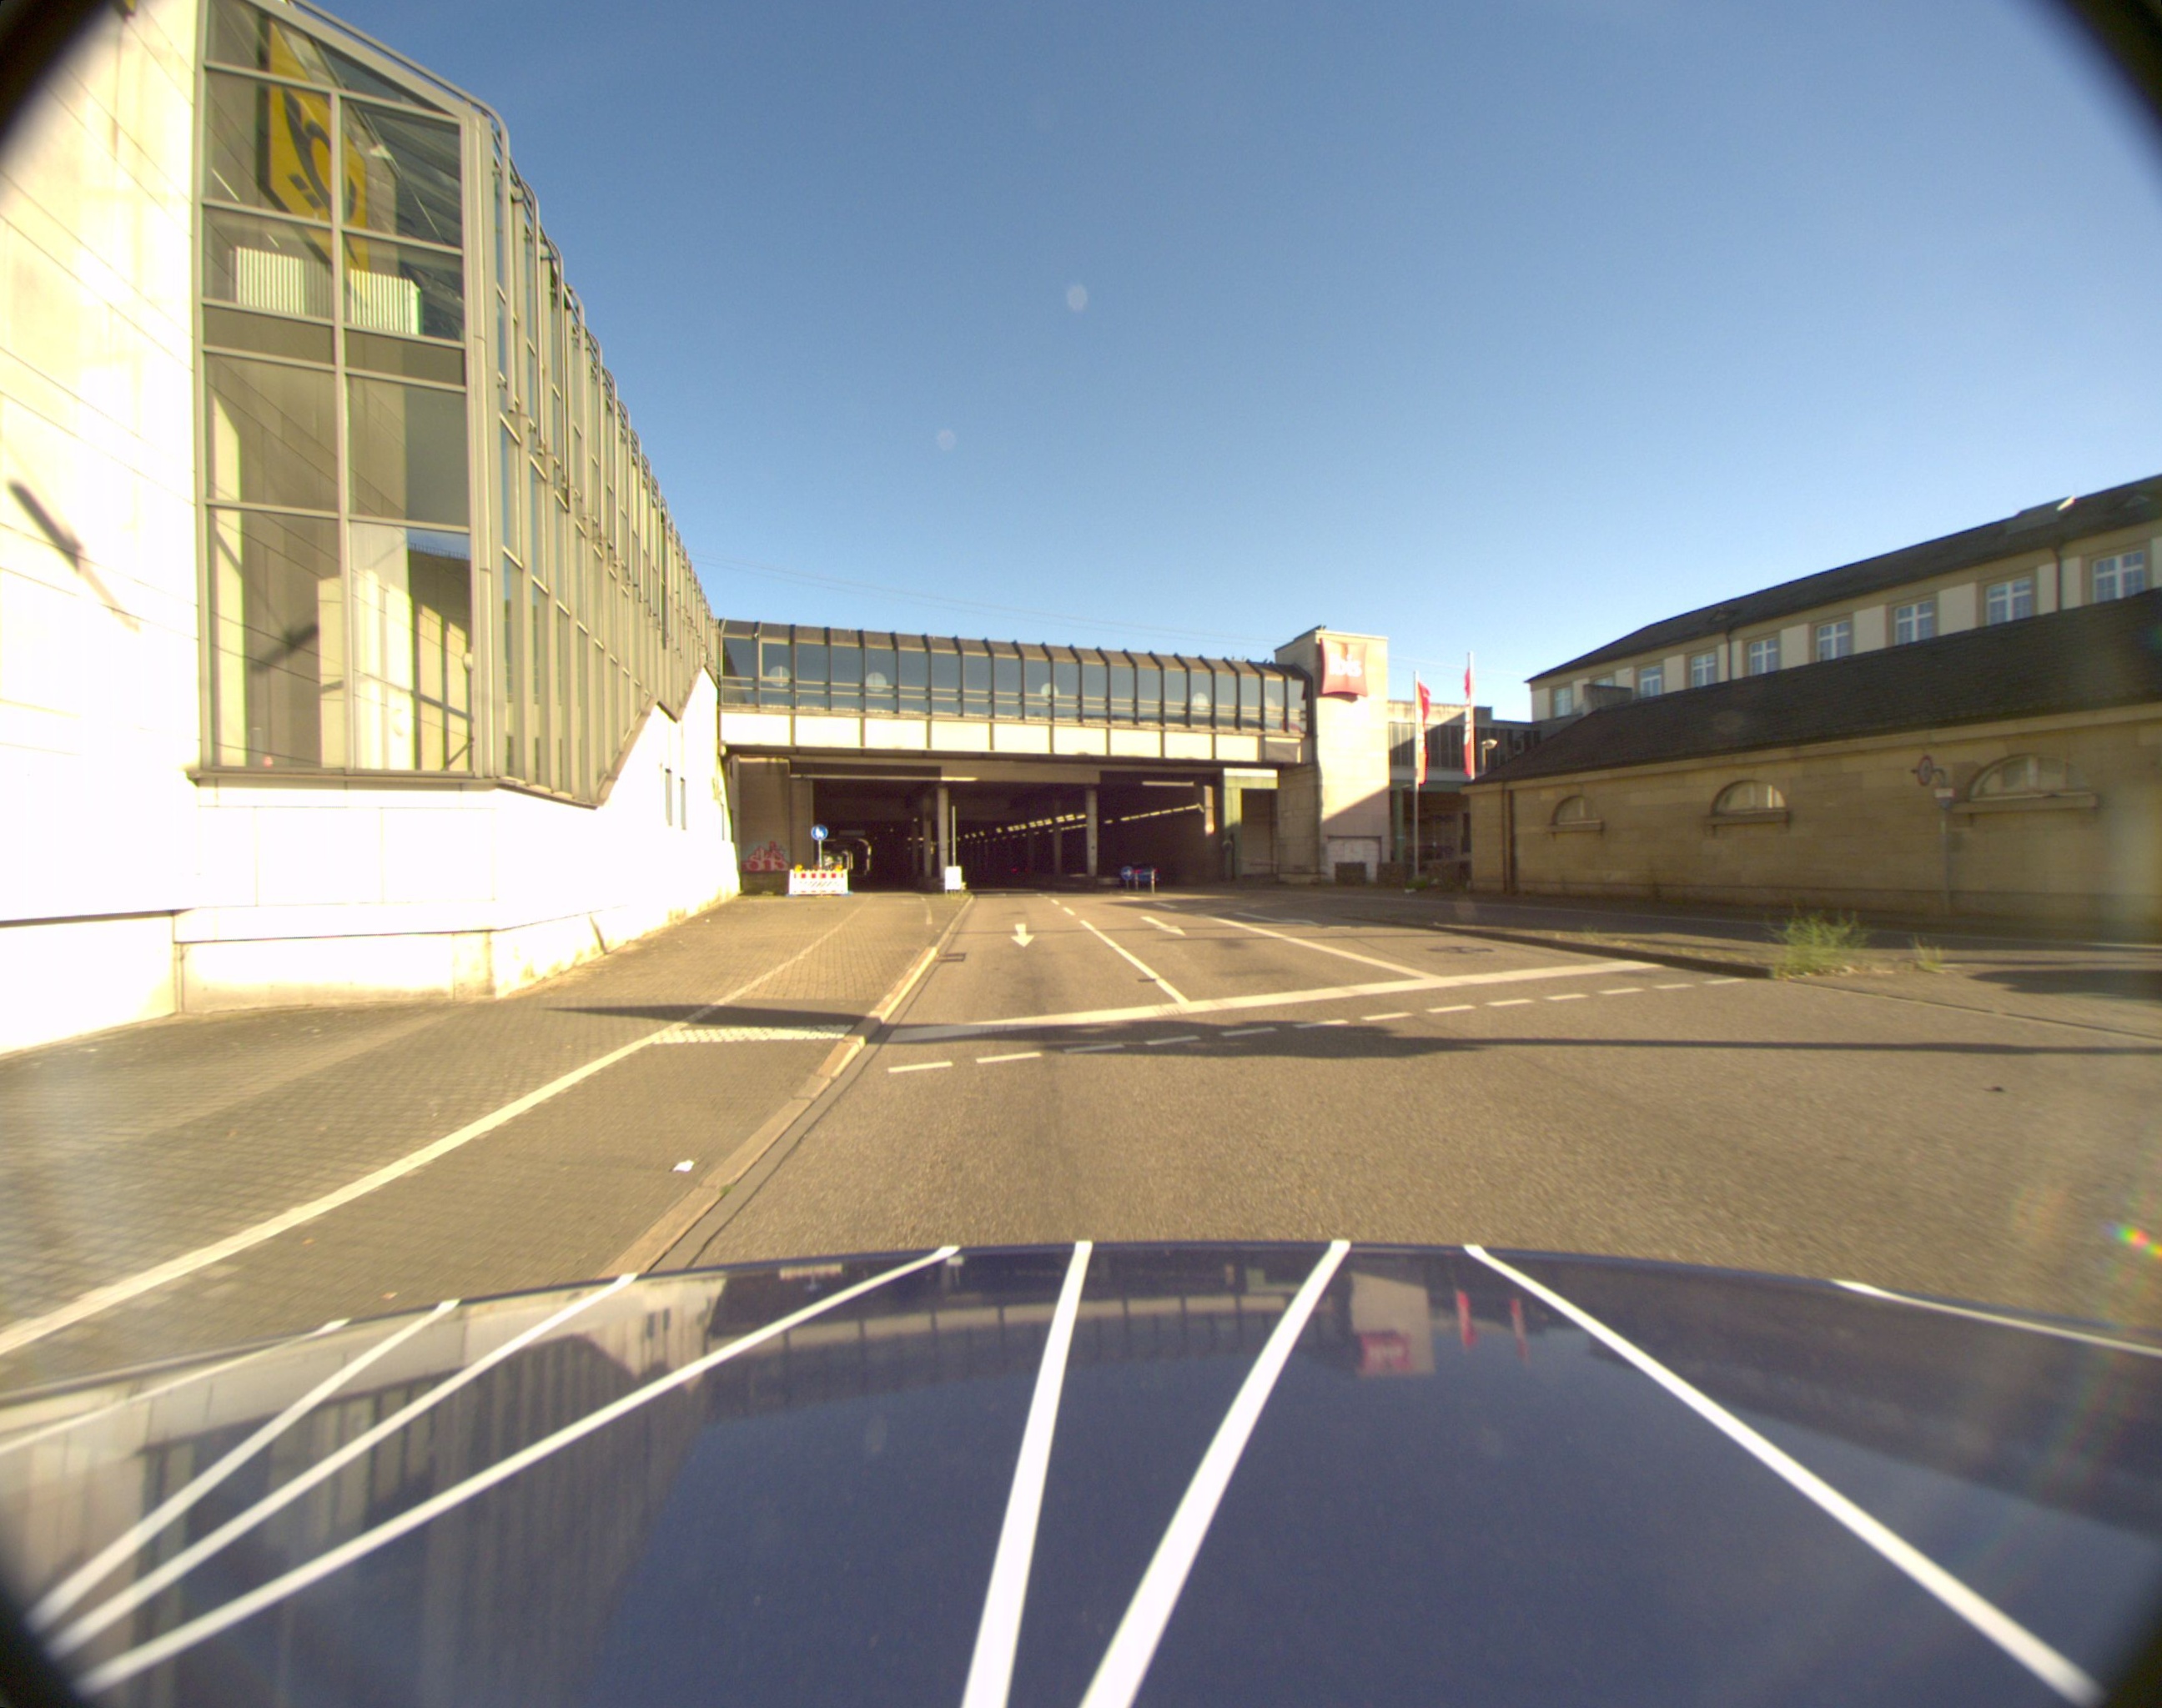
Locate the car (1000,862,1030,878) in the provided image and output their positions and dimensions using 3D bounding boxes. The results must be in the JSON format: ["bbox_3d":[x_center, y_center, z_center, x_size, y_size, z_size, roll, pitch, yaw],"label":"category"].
[{"bbox_3d":[-6.020,1.414,68.613,1.759,1.397,4.409,-2,0,-17],"label":"car"}]

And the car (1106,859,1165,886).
[{"bbox_3d":[3.000,1.006,42.659,1.817,1.382,4.240,-2,0,-18],"label":"car"}]
